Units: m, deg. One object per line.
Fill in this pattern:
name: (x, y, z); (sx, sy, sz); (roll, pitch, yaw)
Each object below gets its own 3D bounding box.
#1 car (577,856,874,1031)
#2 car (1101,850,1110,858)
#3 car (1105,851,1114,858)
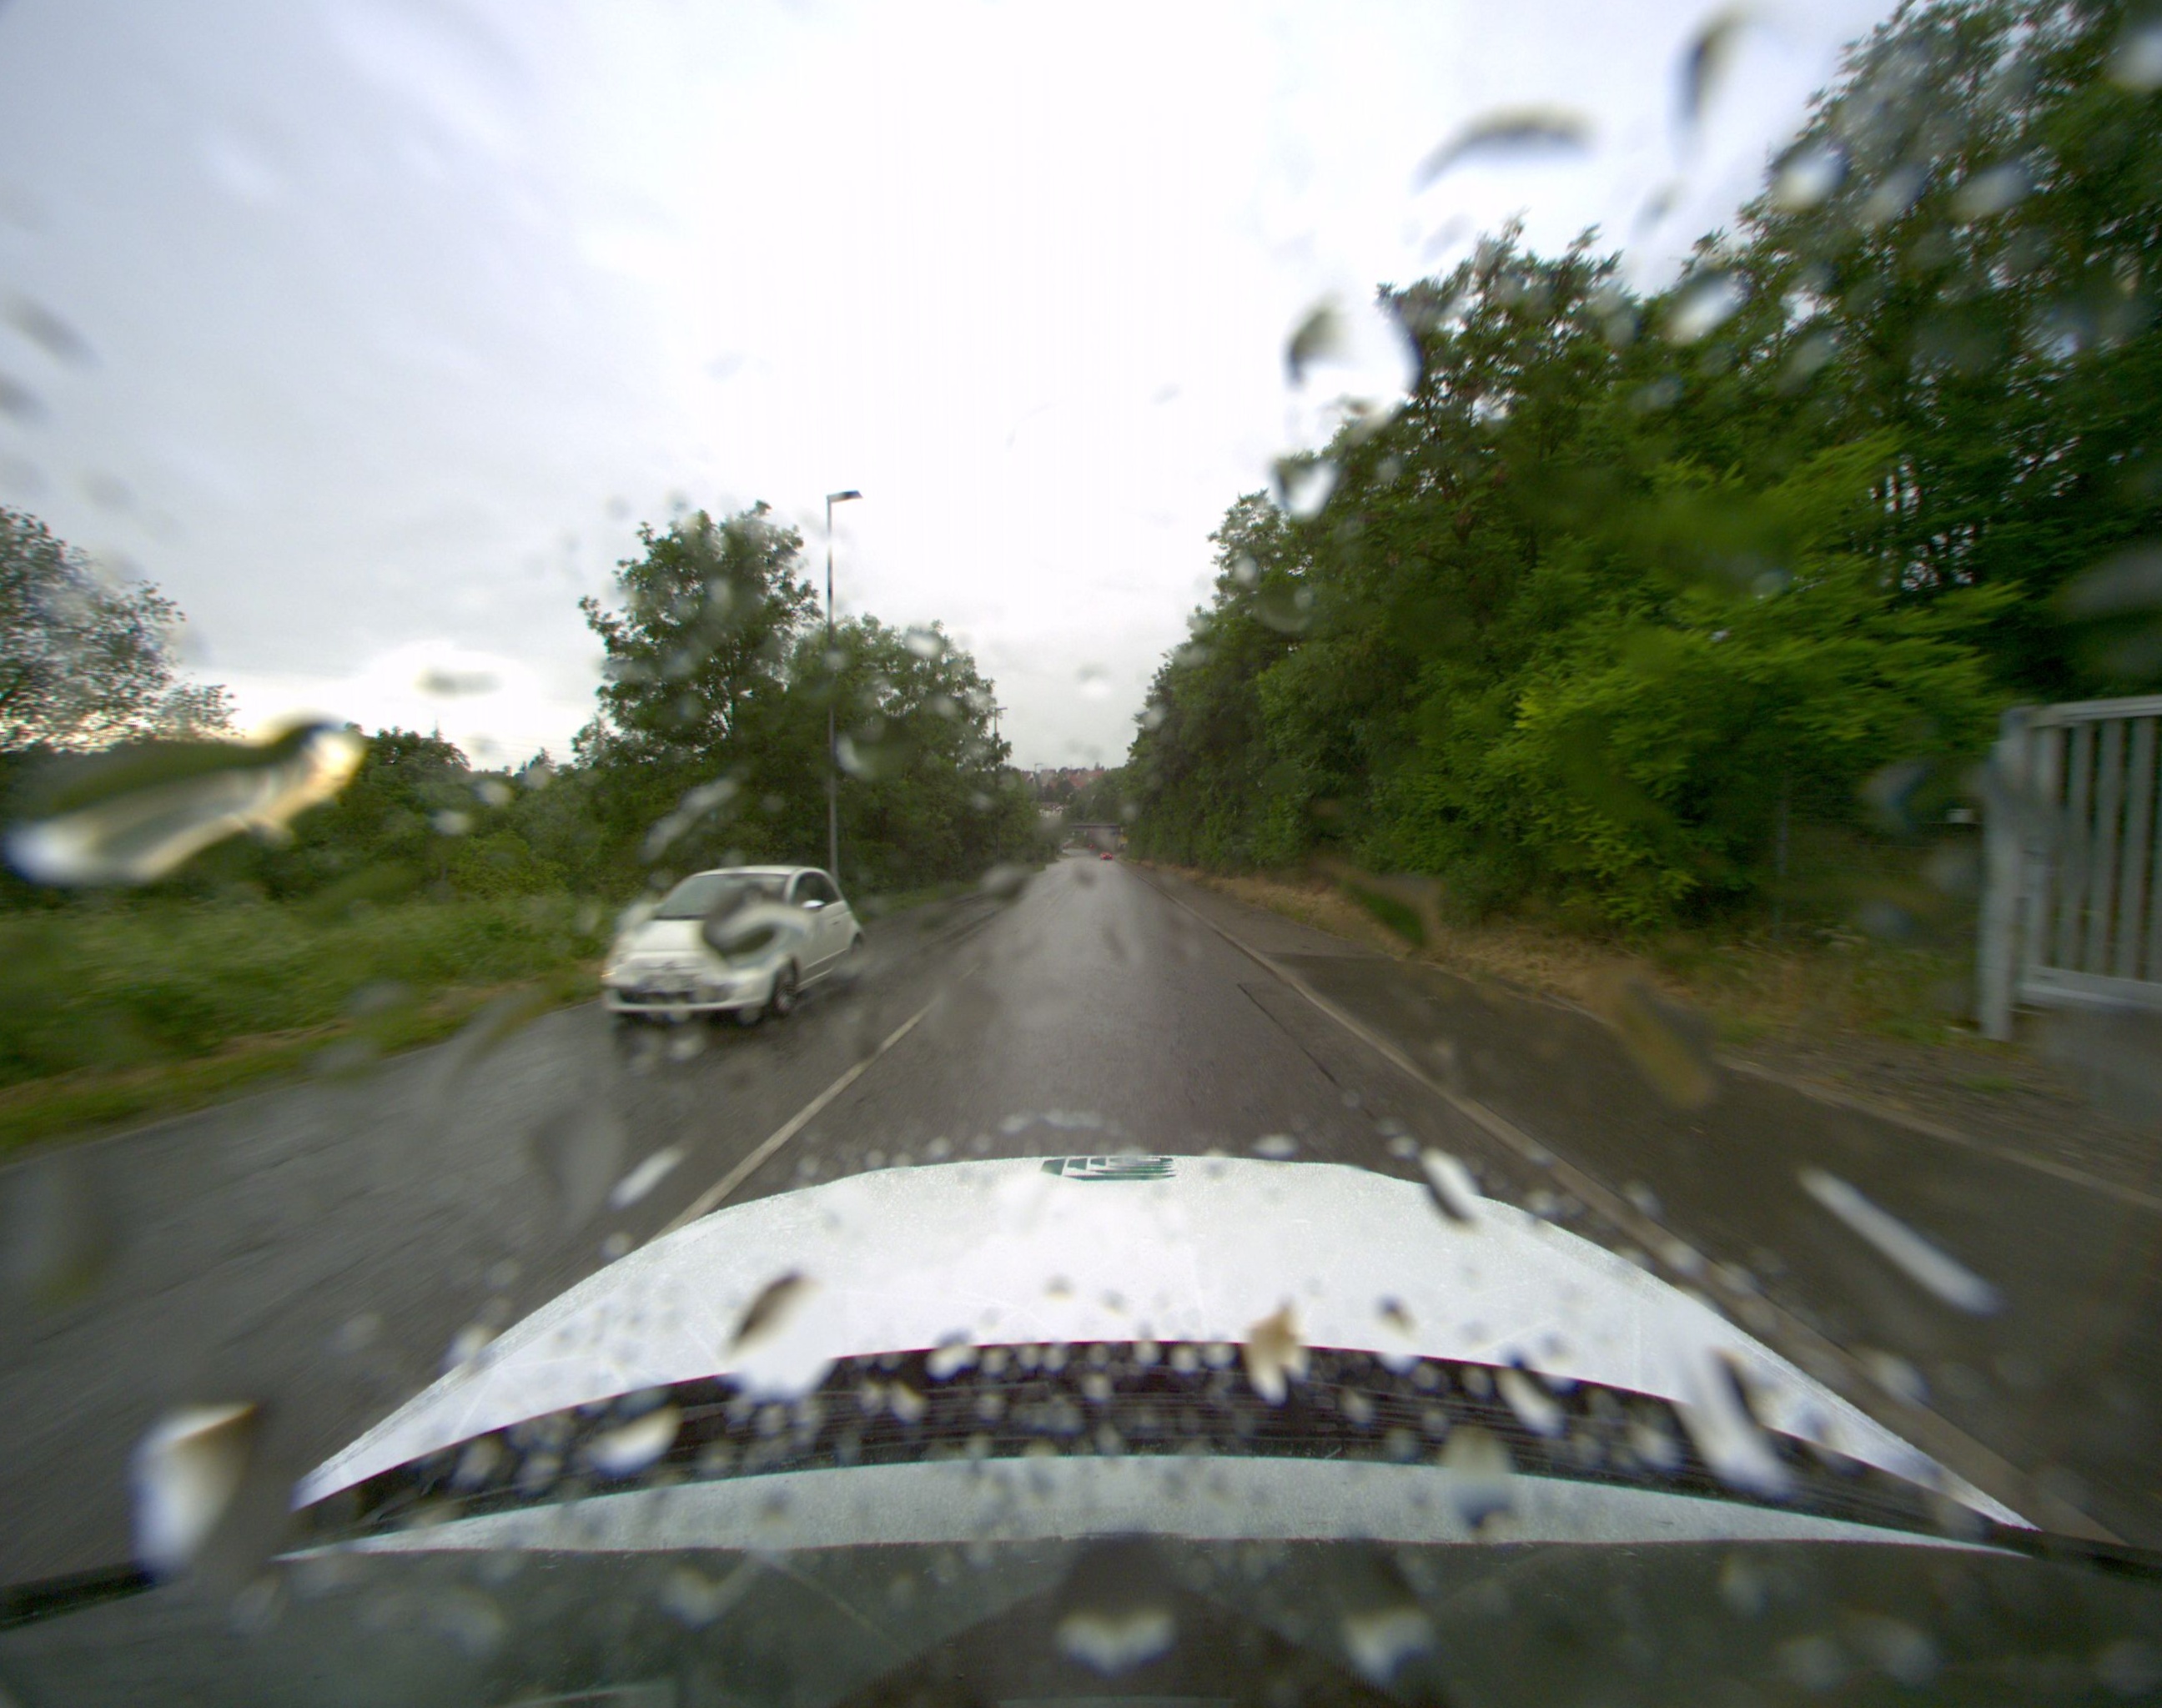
car: (-3.572, 0.791, 8.899); (1.633, 1.488, 3.455); (-2, 0, 1)
car: (5.323, 0.011, 177.015); (1.761, 1.563, 4.002); (-2, 0, 2)
car: (5.908, 0.163, 170.426); (1.761, 1.380, 4.002); (-2, 0, 2)
